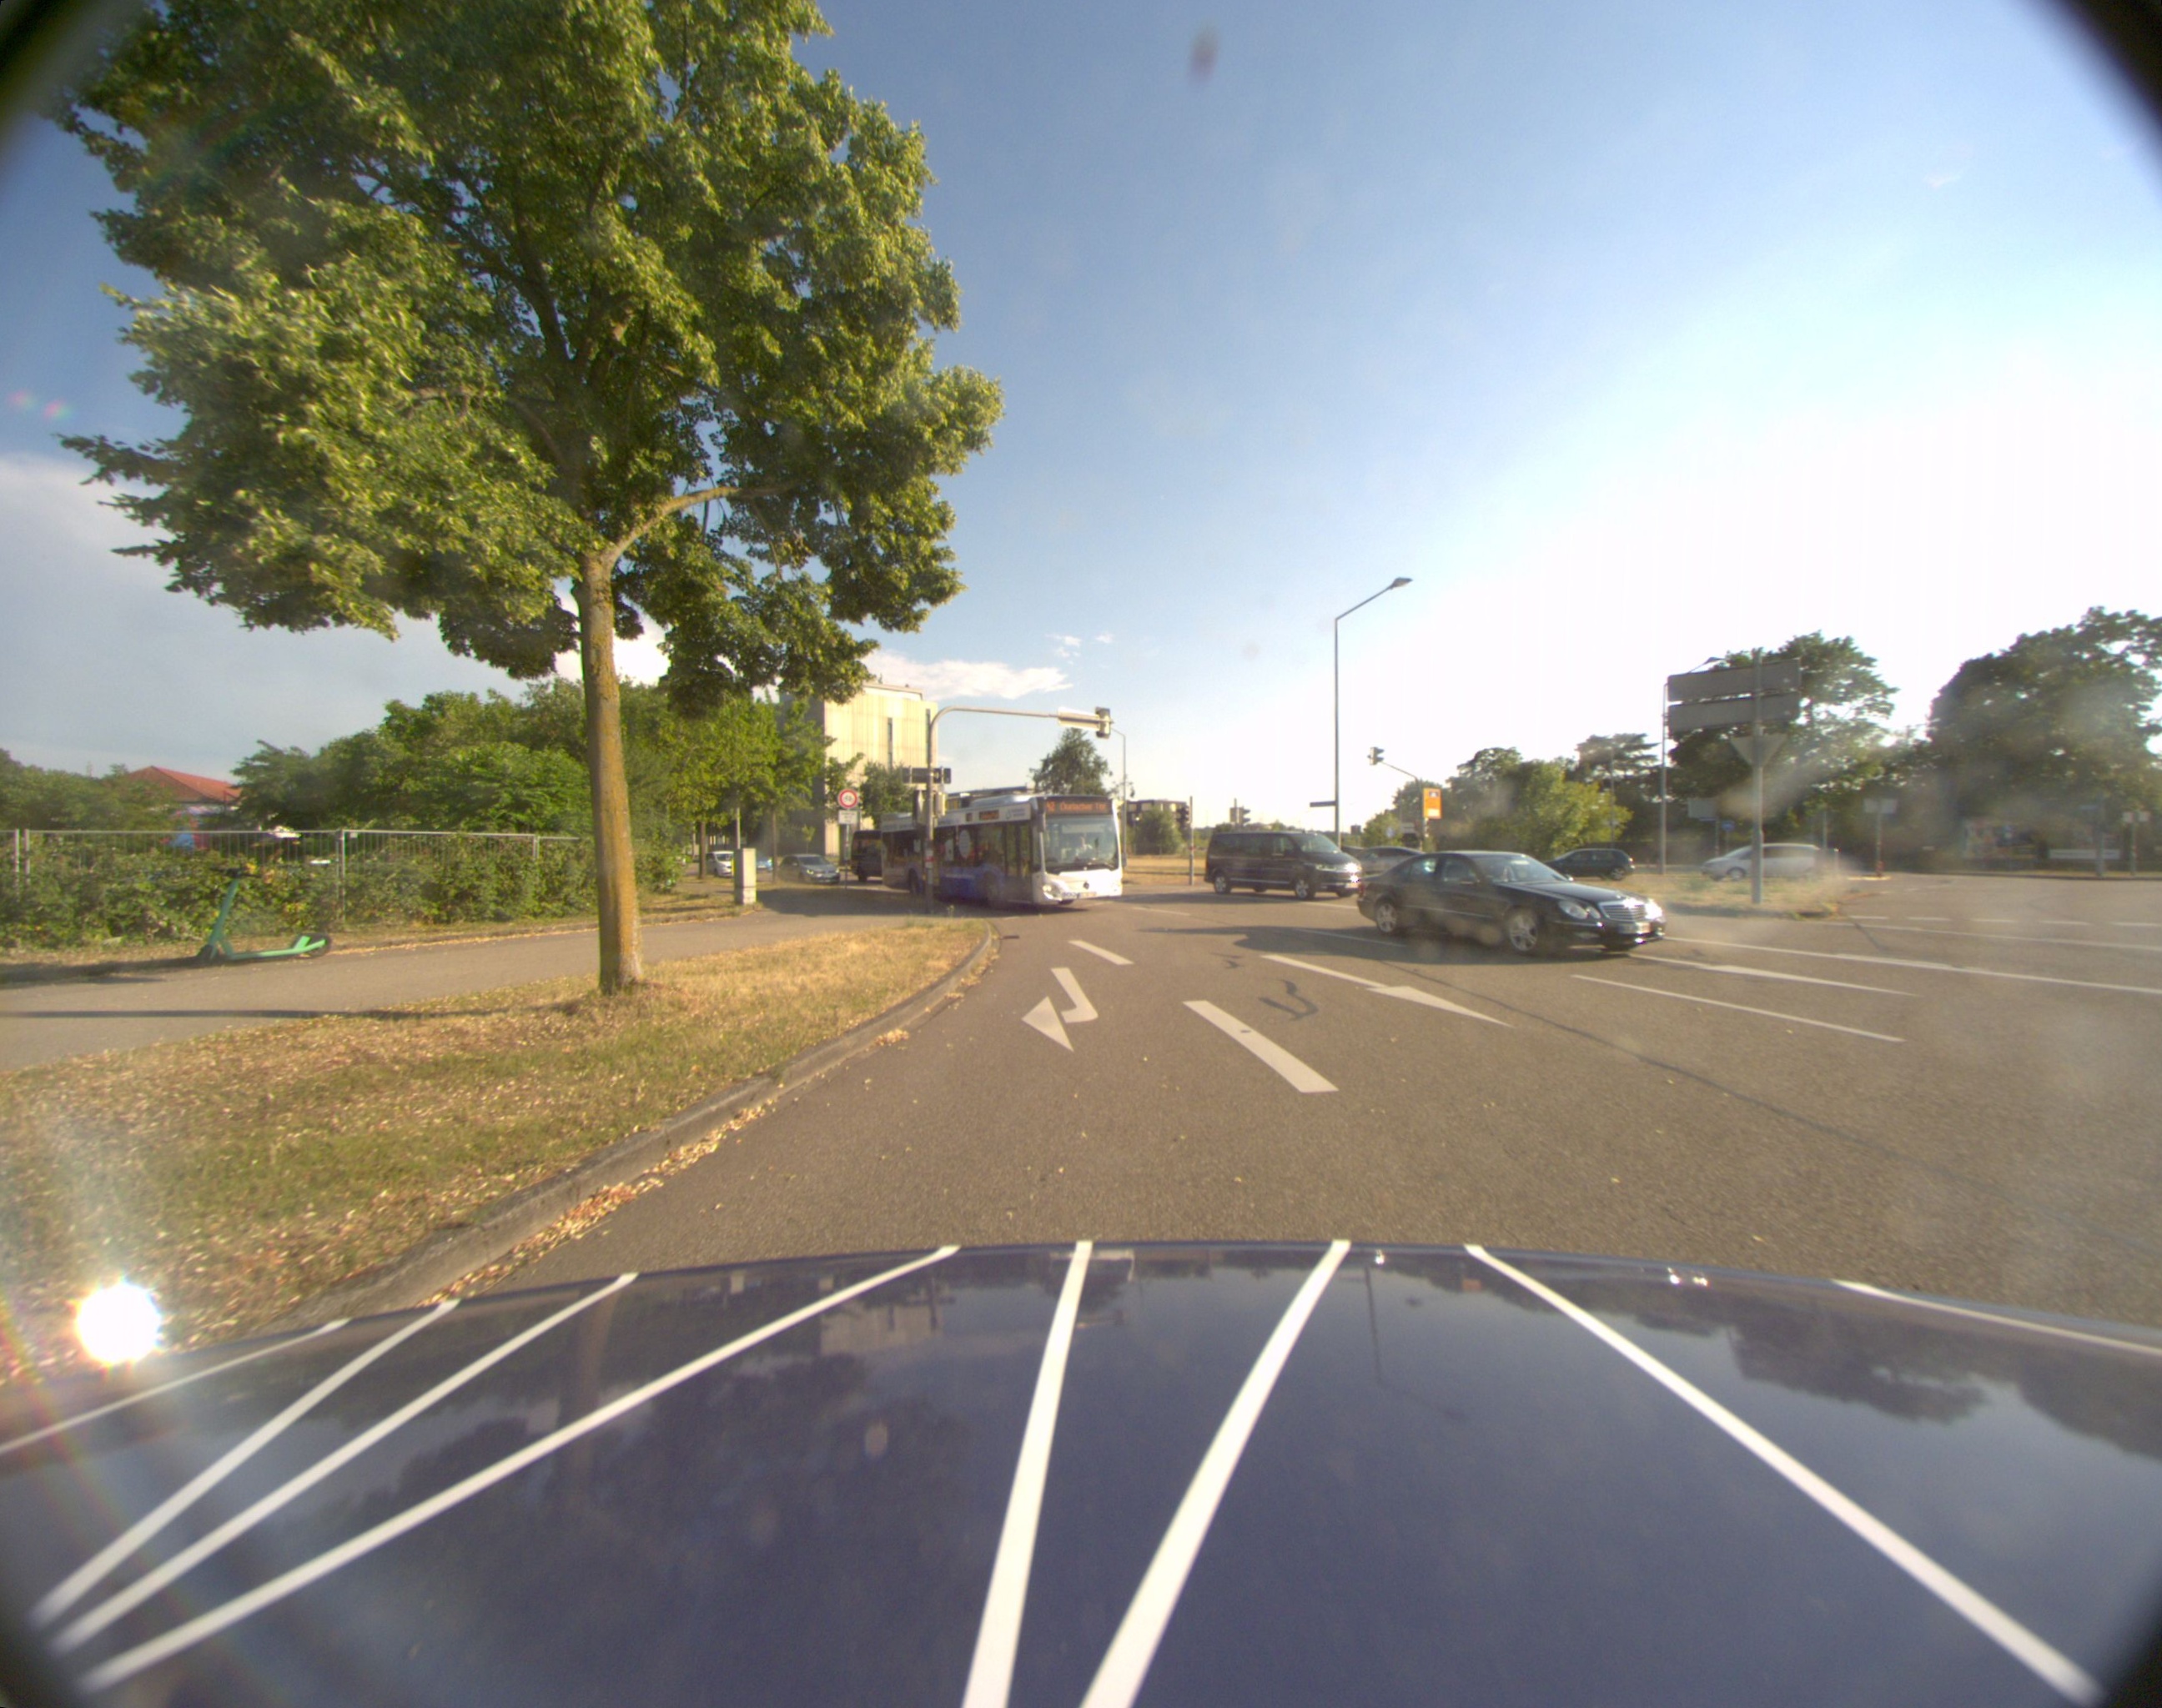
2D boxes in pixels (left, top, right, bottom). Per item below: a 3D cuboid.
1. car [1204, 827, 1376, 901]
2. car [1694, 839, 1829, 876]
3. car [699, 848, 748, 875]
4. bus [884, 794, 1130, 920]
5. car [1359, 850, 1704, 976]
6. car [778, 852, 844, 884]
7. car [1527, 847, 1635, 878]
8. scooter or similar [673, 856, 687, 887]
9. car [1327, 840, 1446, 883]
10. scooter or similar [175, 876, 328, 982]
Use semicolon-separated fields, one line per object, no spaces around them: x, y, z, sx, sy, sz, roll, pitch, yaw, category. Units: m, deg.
6.085;0.205;22.746;1.865;1.921;5.000;-3;3;-32;car
28.781;0.149;32.269;3.935;1.516;1.658;0;1;18;car
-21.676;0.409;46.018;1.589;1.553;3.616;-2;1;-44;car
-2.995;-0.034;23.752;2.601;3.026;11.688;-3;2;-32;bus
6.380;0.696;11.495;1.812;1.428;4.487;-2;1;-15;car
-12.979;0.642;36.455;1.589;1.415;3.616;-2;1;-44;car
22.527;0.354;34.388;3.822;1.342;1.483;0;1;20;car
-14.767;0.633;27.966;0.250;1.119;1.092;2;-1;-38;scooter or similar
12.473;0.270;31.109;4.187;1.664;1.780;0;1;37;car
-9.945;0.863;9.151;0.341;1.153;1.173;1;1;28;scooter or similar
